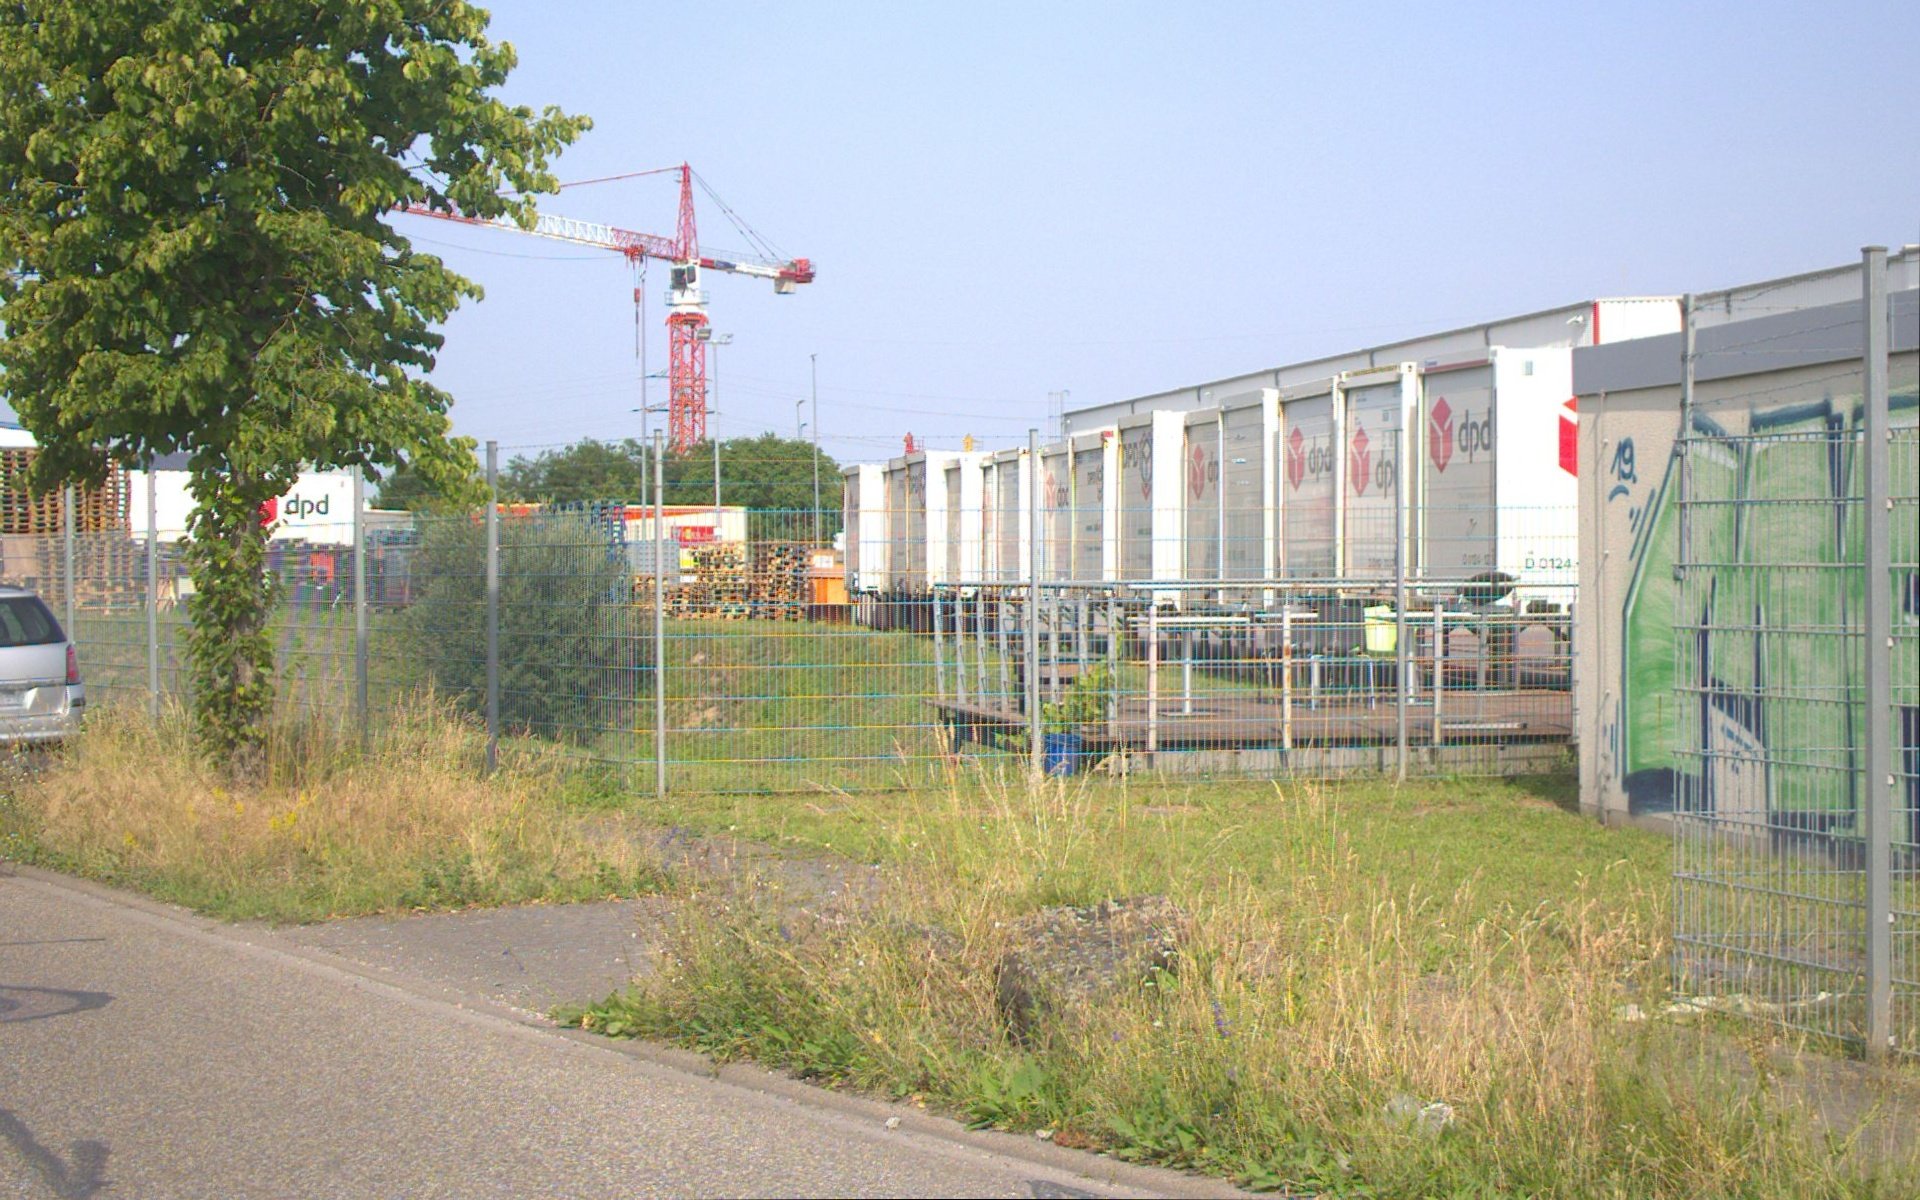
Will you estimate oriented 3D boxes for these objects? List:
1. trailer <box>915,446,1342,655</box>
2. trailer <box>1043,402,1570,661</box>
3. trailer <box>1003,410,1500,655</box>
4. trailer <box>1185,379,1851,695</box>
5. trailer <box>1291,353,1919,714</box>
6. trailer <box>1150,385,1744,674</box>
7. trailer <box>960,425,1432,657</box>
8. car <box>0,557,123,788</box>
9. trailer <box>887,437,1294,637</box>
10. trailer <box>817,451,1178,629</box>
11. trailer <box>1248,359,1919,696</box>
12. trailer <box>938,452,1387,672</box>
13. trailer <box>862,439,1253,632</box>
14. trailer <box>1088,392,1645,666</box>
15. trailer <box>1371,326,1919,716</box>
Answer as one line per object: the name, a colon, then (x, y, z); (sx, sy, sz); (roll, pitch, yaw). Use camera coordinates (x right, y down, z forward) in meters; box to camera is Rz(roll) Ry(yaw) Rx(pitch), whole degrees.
trailer: (3.331, -0.982, 68.725); (7.960, 3.880, 2.777); (2, 1, -12)
trailer: (5.616, -1.095, 56.129); (7.960, 3.880, 2.777); (2, 1, -12)
trailer: (4.979, -1.140, 59.226); (7.960, 3.880, 2.777); (2, 1, -12)
trailer: (7.479, -0.821, 46.391); (8.305, 3.880, 2.777); (2, 1, -12)
trailer: (8.456, -0.730, 40.397); (8.533, 3.880, 2.777); (2, 1, -12)
trailer: (7.087, -1.005, 50.350); (8.030, 3.880, 2.777); (2, 1, -12)
trailer: (4.231, -1.055, 62.274); (7.960, 3.880, 2.777); (2, 1, -12)
car: (-8.034, 0.511, 26.440); (1.799, 1.620, 4.449); (-3, 2, -31)
trailer: (2.695, -1.309, 72.021); (7.960, 3.880, 2.777); (2, 1, -12)
trailer: (0.853, -1.406, 80.801); (7.960, 3.880, 2.744); (2, 1, -12)
trailer: (8.089, -0.877, 43.385); (8.305, 3.880, 2.777); (2, 1, -12)
trailer: (3.813, -0.718, 65.341); (7.960, 3.880, 2.777); (2, 1, -12)
trailer: (2.087, -1.390, 74.886); (7.960, 3.880, 2.777); (2, 1, -12)
trailer: (6.248, -1.076, 53.223); (7.960, 3.880, 2.777); (2, 1, -12)
trailer: (9.038, -0.780, 37.317); (8.533, 3.880, 2.777); (2, 1, -12)
